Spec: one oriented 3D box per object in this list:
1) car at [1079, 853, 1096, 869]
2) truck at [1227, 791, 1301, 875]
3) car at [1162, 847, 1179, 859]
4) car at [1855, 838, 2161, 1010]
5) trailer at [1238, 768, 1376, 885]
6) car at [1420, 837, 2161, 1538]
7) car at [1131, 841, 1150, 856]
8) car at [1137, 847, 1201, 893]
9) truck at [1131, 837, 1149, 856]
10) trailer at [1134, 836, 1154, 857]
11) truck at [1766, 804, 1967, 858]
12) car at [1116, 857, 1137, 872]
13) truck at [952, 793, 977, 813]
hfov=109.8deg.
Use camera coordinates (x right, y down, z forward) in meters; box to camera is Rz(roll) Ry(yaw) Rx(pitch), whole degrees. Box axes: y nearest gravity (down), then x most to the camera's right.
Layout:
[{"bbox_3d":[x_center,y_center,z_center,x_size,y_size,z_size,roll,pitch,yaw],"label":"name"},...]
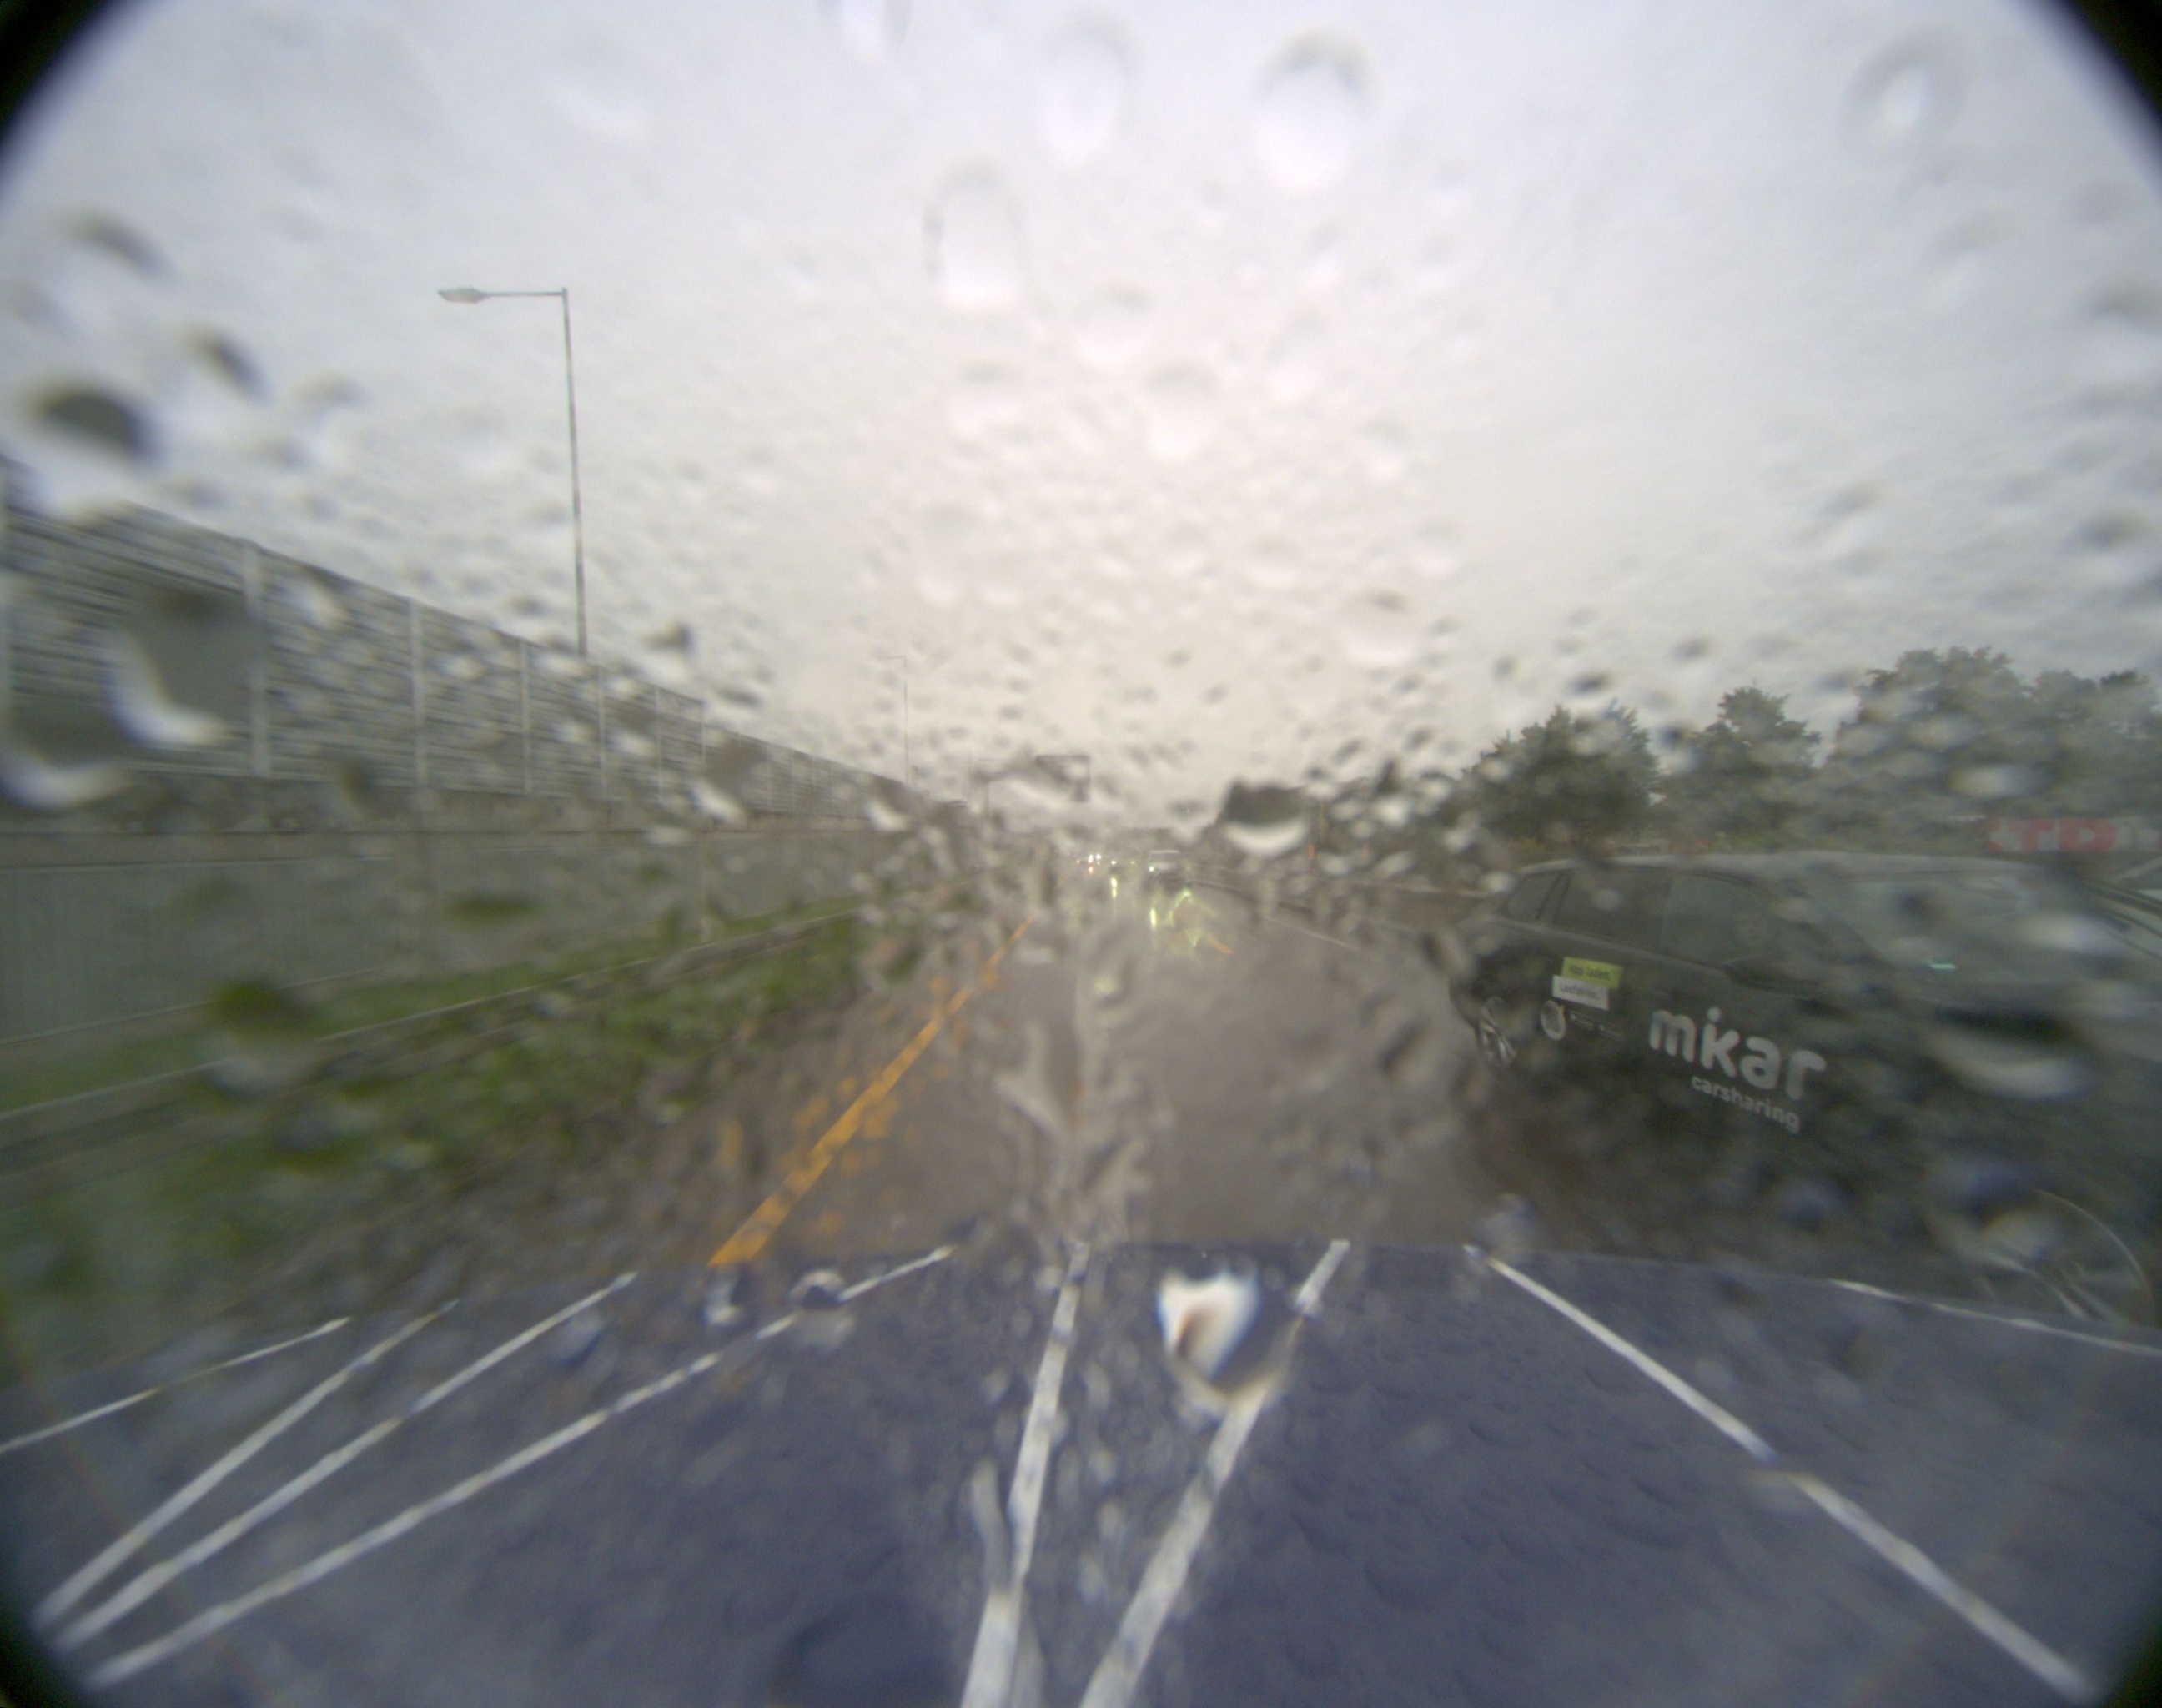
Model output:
[{"bbox_3d":[0.854,0.807,93.655,1.998,1.762,3.999,-2,2,1],"label":"car"},{"bbox_3d":[10.222,-1.131,43.114,2.615,4.363,6.289,-2,1,1],"label":"truck"},{"bbox_3d":[10.787,-0.133,91.857,1.573,1.427,3.892,-1,1,0],"label":"car"},{"bbox_3d":[10.147,0.597,6.399,1.732,1.429,5.437,-2,0,1],"label":"car"},{"bbox_3d":[10.148,-1.113,36.148,2.588,4.431,13.551,-2,0,1],"label":"trailer"},{"bbox_3d":[3.420,0.726,3.210,1.943,1.519,4.796,-2,0,2],"label":"car"},{"bbox_3d":[7.144,-0.641,91.289,1.903,1.677,4.740,-1,1,0],"label":"car"},{"bbox_3d":[3.634,0.631,32.005,1.972,1.671,3.997,-2,2,-3],"label":"car"},{"bbox_3d":[10.874,-1.391,140.975,2.646,3.328,9.551,-2,0,0],"label":"truck"},{"bbox_3d":[10.868,-1.325,131.331,2.668,3.343,9.713,-2,0,0],"label":"trailer"},{"bbox_3d":[44.821,-1.237,43.909,2.521,2.688,8.901,-2,1,1],"label":"truck"},{"bbox_3d":[3.497,0.818,58.801,1.335,1.105,3.197,1,0,-2],"label":"car"},{"bbox_3d":[-12.498,-5.494,81.932,1.998,2.002,4.057,-2,2,0],"label":"truck"}]
